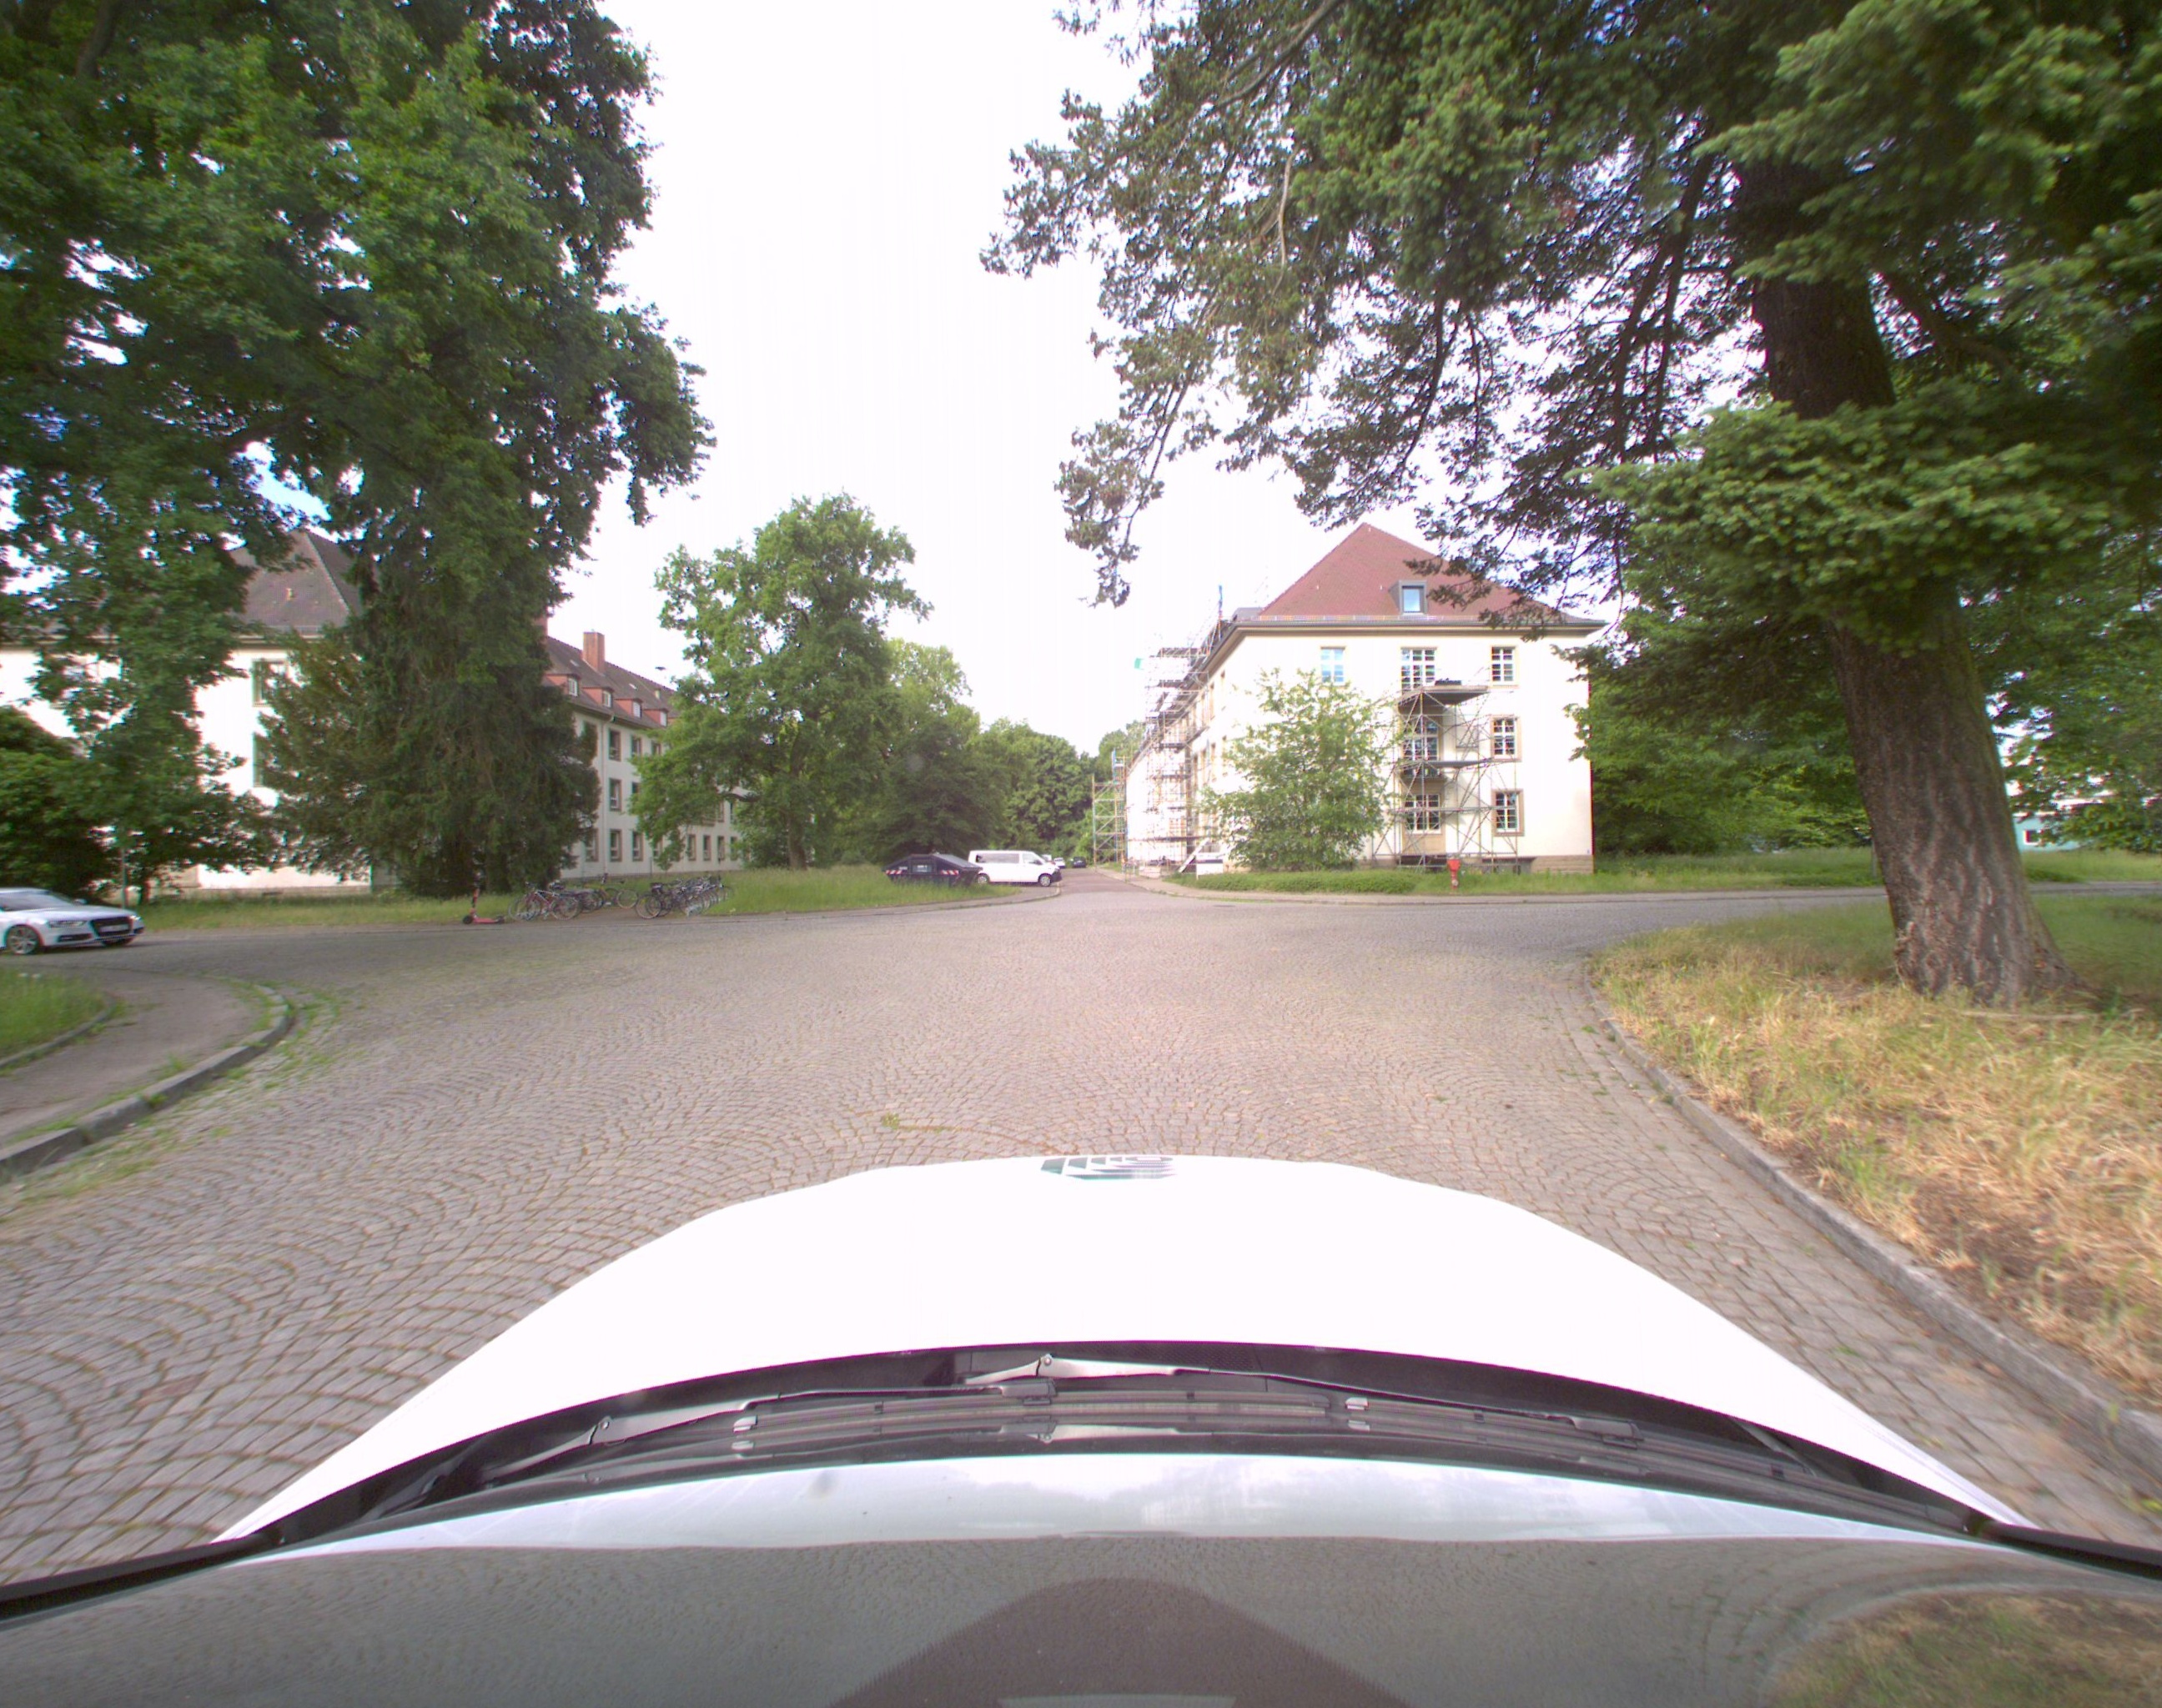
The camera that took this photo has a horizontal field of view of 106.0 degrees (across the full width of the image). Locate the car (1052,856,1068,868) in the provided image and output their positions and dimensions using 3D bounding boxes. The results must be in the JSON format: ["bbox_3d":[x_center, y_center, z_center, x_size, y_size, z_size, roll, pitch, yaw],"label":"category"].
[{"bbox_3d":[-2.887,1.078,110.885,1.998,1.548,3.952,2,-1,-4],"label":"car"}]

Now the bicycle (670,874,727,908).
[{"bbox_3d":[-13.866,1.324,29.550,1.777,1.105,0.538,-2,2,-21],"label":"bicycle"}]

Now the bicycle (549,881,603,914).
[{"bbox_3d":[-17.164,1.465,27.707,1.521,1.035,0.540,-1,2,-32],"label":"bicycle"}]

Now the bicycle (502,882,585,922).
[{"bbox_3d":[-16.277,1.440,24.720,1.992,1.114,0.639,-1,2,-21],"label":"bicycle"}]

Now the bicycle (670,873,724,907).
[{"bbox_3d":[-14.152,1.302,30.029,1.703,1.116,0.538,-2,2,-21],"label":"bicycle"}]

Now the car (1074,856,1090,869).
[{"bbox_3d":[0.122,1.169,111.346,2.056,1.593,4.000,1,-1,1],"label":"car"}]

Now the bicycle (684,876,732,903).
[{"bbox_3d":[-14.249,1.361,31.157,1.622,0.910,0.523,-2,2,-21],"label":"bicycle"}]

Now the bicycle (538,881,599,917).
[{"bbox_3d":[-16.565,1.442,26.356,1.635,1.073,0.534,-1,2,-32],"label":"bicycle"}]

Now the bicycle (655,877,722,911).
[{"bbox_3d":[-13.329,1.349,27.742,1.961,1.004,0.682,-3,2,-21],"label":"bicycle"}]

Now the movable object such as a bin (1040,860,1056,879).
[{"bbox_3d":[-2.546,1.218,63.494,1.180,1.407,0.975,1,-1,-1],"label":"movable object such as a bin"}]

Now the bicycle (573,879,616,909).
[{"bbox_3d":[-17.975,1.464,30.093,1.264,1.029,0.431,-2,-2,-21],"label":"bicycle"}]

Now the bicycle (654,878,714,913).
[{"bbox_3d":[-13.106,1.370,26.952,1.697,1.001,0.628,-2,2,-21],"label":"bicycle"}]

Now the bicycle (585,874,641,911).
[{"bbox_3d":[-16.497,1.351,28.743,1.648,1.185,0.569,-1,2,-28],"label":"bicycle"}]

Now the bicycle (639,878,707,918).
[{"bbox_3d":[-12.766,1.373,25.531,1.774,1.103,0.698,-2,2,-21],"label":"bicycle"}]

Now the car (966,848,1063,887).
[{"bbox_3d":[-3.614,0.735,44.874,5.188,2.060,2.186,0,-1,-3],"label":"car"}]

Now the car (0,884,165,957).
[{"bbox_3d":[-23.710,1.472,17.971,4.680,1.437,1.853,-1,-1,-3],"label":"car"}]

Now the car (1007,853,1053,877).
[{"bbox_3d":[-4.587,0.982,72.402,3.982,2.014,1.917,2,-1,-6],"label":"car"}]

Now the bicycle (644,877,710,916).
[{"bbox_3d":[-12.991,1.350,26.220,1.800,1.103,0.698,-2,2,-21],"label":"bicycle"}]

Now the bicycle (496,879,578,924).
[{"bbox_3d":[-16.054,1.389,24.081,1.902,1.222,0.639,-1,1,-21],"label":"bicycle"}]

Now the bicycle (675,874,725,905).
[{"bbox_3d":[-14.270,1.316,30.572,1.622,1.058,0.523,-2,2,-21],"label":"bicycle"}]

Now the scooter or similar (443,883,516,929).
[{"bbox_3d":[-17.141,1.476,23.216,1.542,1.195,0.682,-2,0,1],"label":"scooter or similar"}]

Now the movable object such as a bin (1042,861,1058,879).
[{"bbox_3d":[-2.470,1.244,64.634,1.180,1.407,0.975,1,-1,-1],"label":"movable object such as a bin"}]
